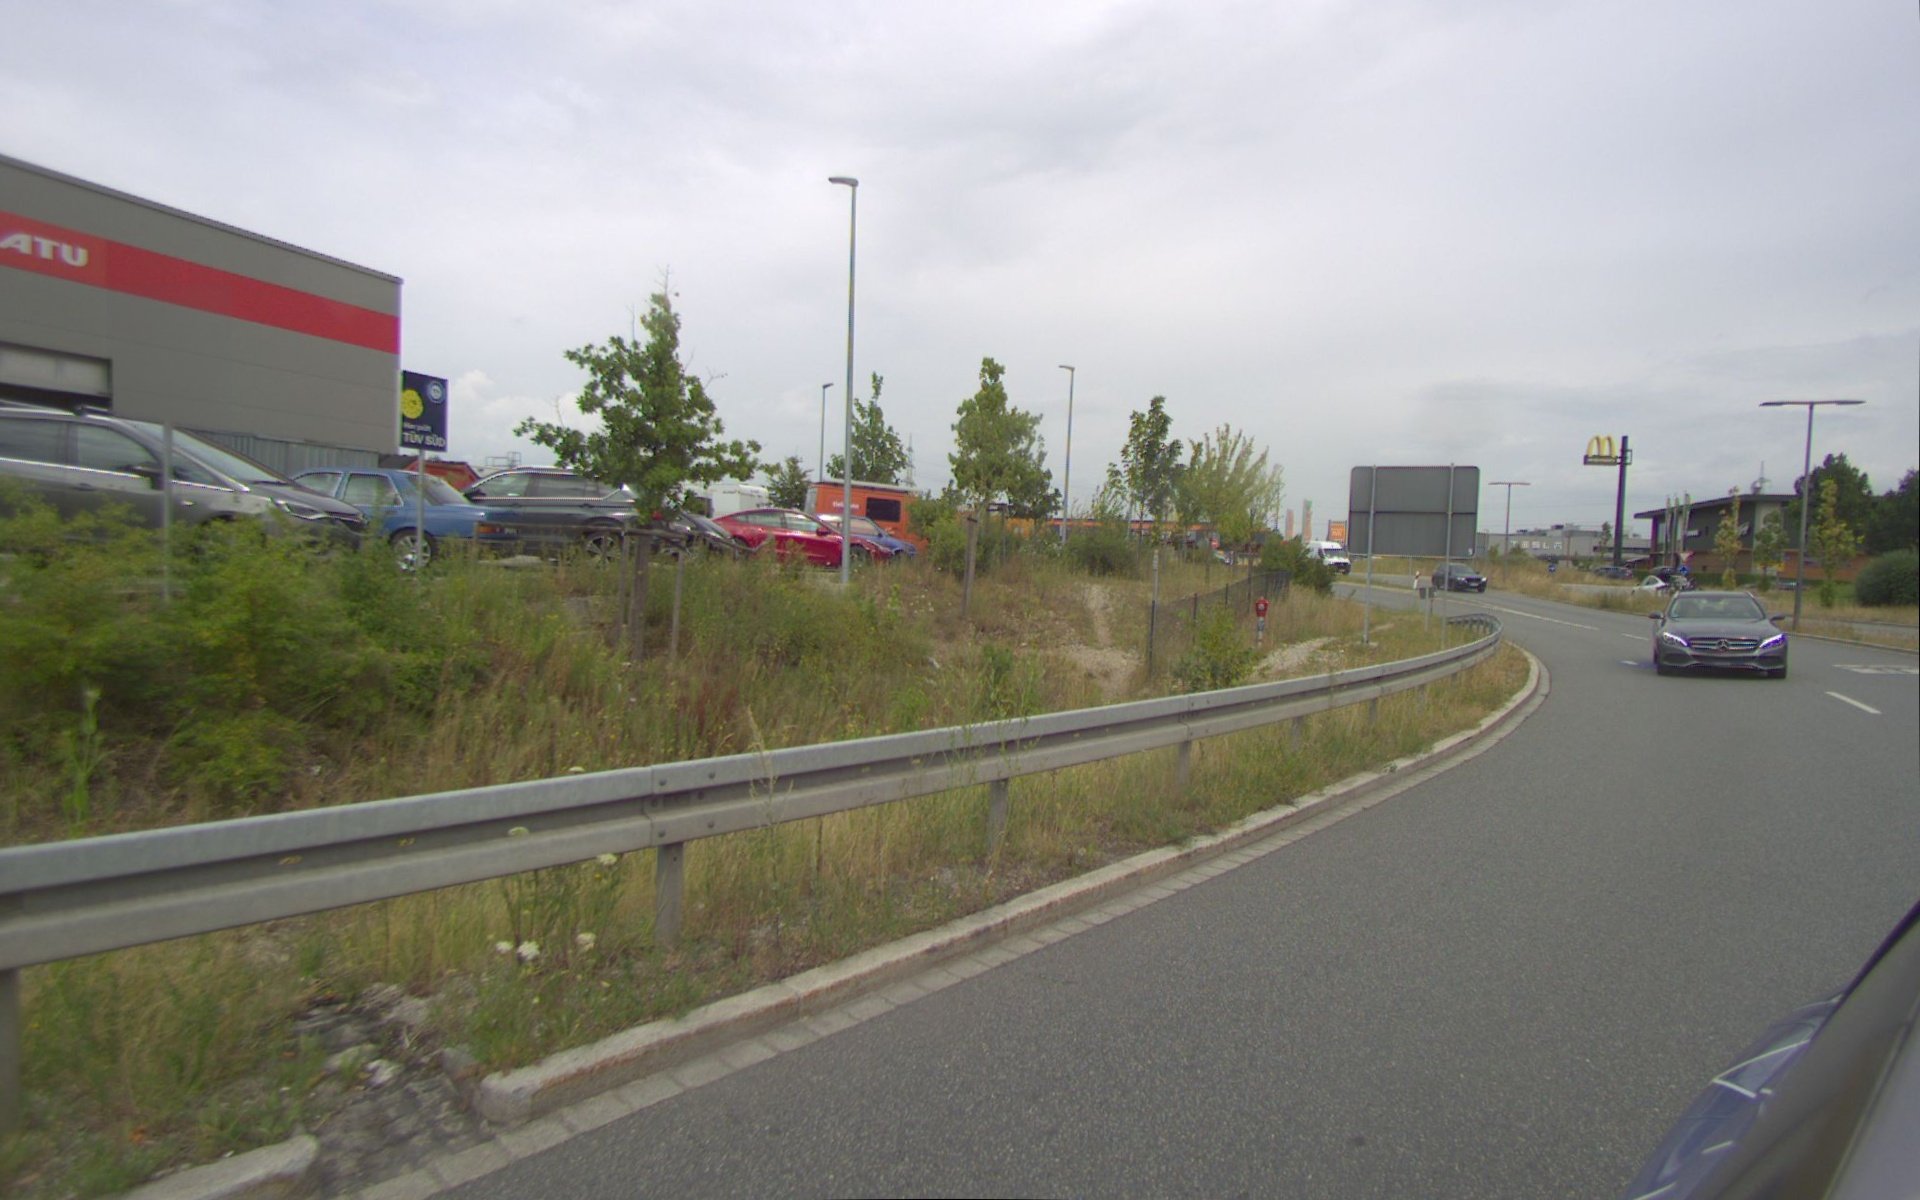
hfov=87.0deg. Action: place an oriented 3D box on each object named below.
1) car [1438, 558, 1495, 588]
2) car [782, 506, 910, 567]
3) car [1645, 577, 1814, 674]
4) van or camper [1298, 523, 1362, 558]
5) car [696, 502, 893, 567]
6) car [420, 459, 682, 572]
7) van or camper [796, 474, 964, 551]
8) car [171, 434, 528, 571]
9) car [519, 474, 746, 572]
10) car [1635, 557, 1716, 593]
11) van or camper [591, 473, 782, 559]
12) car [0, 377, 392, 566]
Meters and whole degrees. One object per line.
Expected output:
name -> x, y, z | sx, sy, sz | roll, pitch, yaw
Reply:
car -> 31.320, -1.668, 62.709 | 1.811, 1.741, 3.995 | -1, 1, 6
car -> -3.043, -1.679, 27.056 | 3.240, 1.398, 1.503 | 3, 3, -6
car -> 13.887, 0.387, 18.524 | 1.891, 1.516, 4.294 | -2, 1, 30
van or camper -> 29.916, -4.765, 82.097 | 2.287, 2.682, 6.055 | 0, 2, -7
car -> -3.893, -1.559, 24.284 | 4.497, 1.417, 1.706 | 1, 3, -4
car -> -6.443, -1.314, 16.268 | 3.657, 1.674, 1.521 | -1, 0, -10
van or camper -> -2.369, -2.515, 29.830 | 4.578, 2.022, 1.818 | 0, 1, -21
car -> -8.123, -1.269, 13.788 | 3.779, 1.674, 1.736 | -1, 0, -8
car -> -6.076, -1.417, 19.103 | 3.719, 1.537, 1.694 | 3, 2, -4
car -> 35.034, -1.213, 49.699 | 1.890, 1.646, 4.611 | -1, 1, 18
van or camper -> -11.402, -3.510, 42.140 | 7.644, 3.217, 2.476 | 3, 2, 20
car -> -8.699, -1.303, 10.942 | 4.083, 1.805, 1.808 | -1, 0, -10
